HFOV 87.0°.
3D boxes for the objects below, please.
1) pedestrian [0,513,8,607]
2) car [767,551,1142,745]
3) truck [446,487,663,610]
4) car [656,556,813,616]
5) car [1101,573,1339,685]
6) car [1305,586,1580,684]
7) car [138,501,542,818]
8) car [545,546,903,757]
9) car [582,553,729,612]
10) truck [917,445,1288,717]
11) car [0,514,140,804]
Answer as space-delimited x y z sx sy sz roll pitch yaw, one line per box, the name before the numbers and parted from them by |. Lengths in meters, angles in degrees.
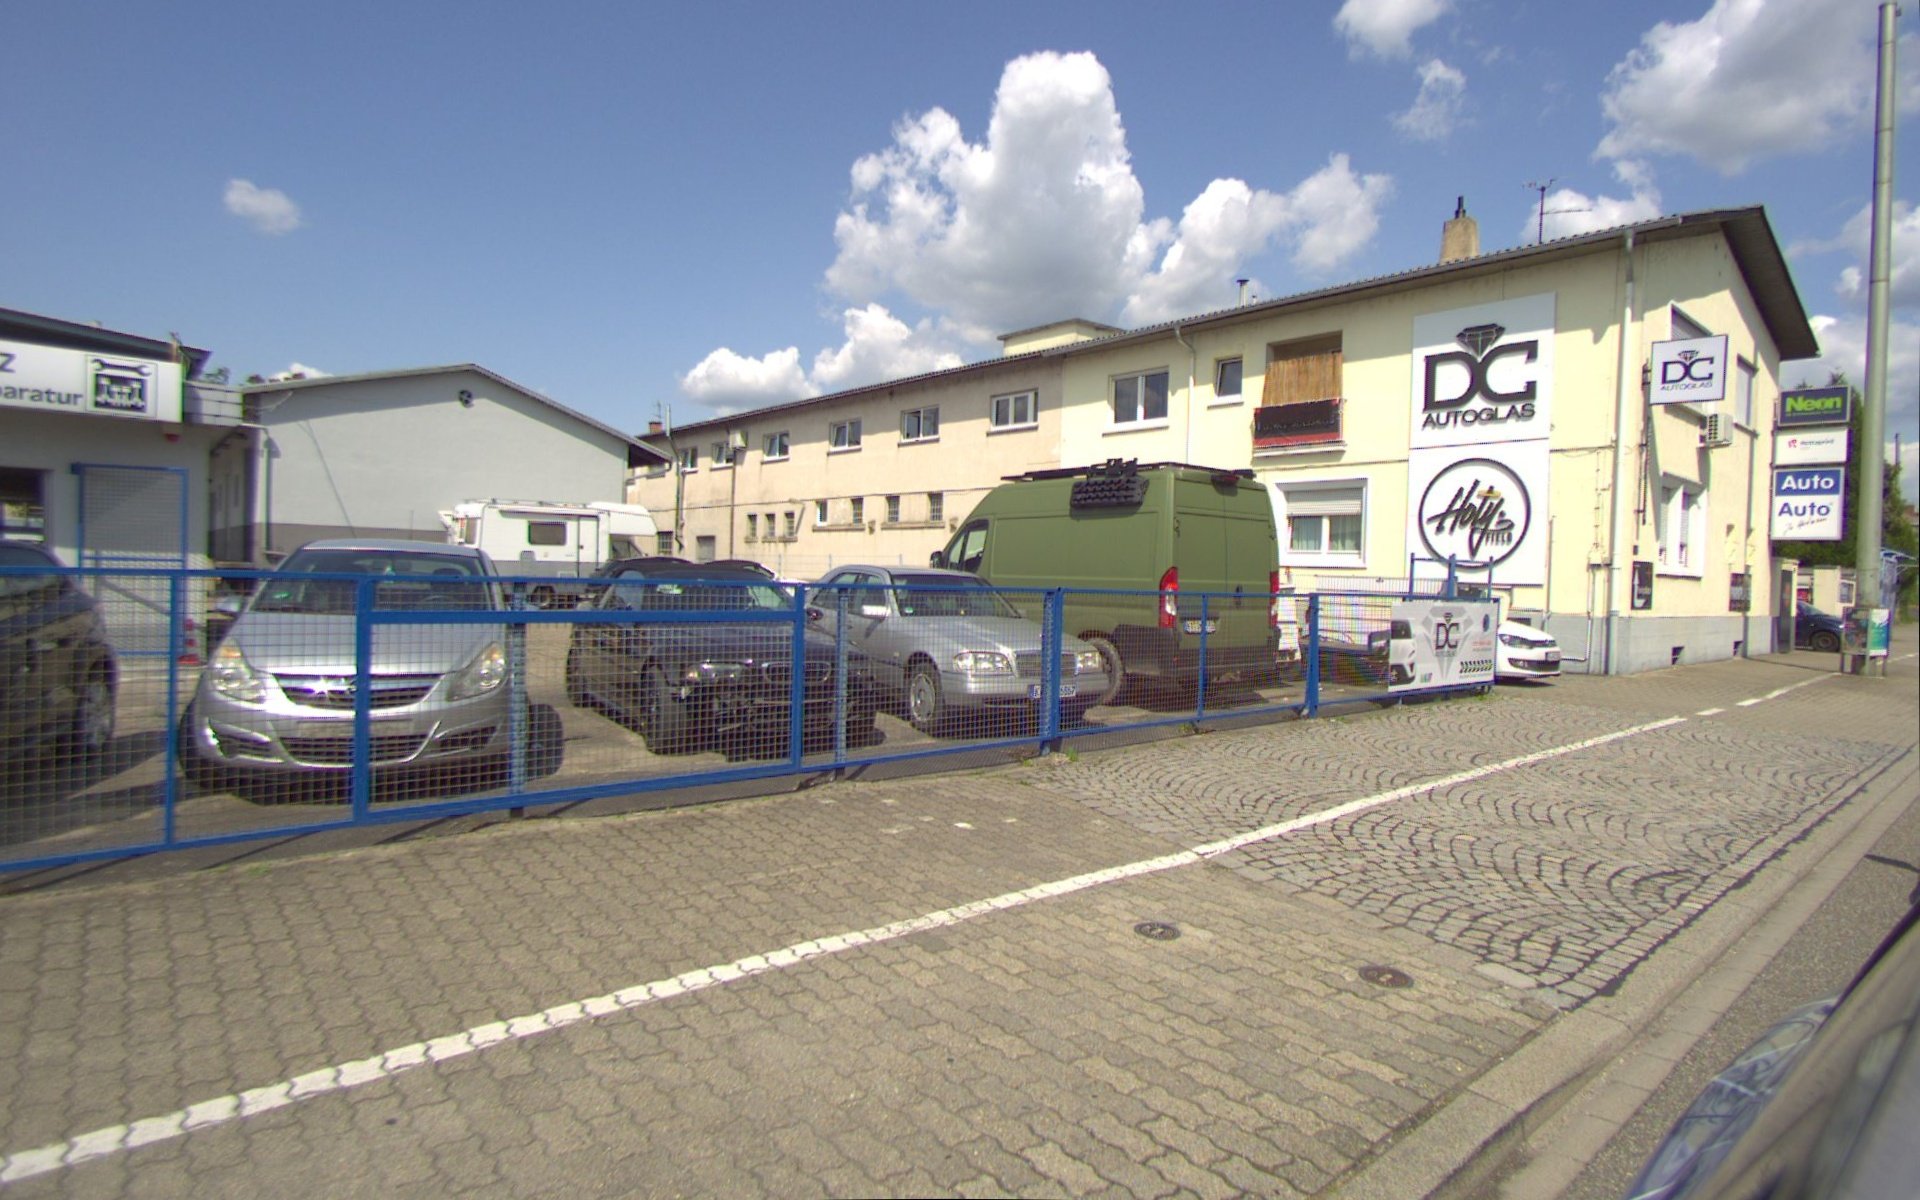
pedestrian | -13.952 -0.563 14.298 0.687 1.318 0.634 0 0 -40
car | -0.299 0.357 10.220 1.792 1.527 4.265 0 0 -33
truck | -10.893 -1.343 27.382 5.000 3.046 2.157 -1 3 -42
car | -5.113 -0.310 23.159 3.219 1.278 1.452 -1 0 -40
car | 3.573 0.324 14.249 1.309 1.290 3.034 0 4 -39
car | 7.579 0.475 16.190 1.490 1.375 3.727 0 0 -37
car | -4.002 0.264 7.185 1.789 1.524 4.271 0 0 -24
car | -2.313 0.296 8.938 1.707 1.391 4.265 0 1 -34
car | -7.643 -0.436 25.554 3.268 1.396 1.425 -1 0 -40
truck | 1.552 -0.208 12.297 2.071 2.694 4.180 0 0 -39
car | -5.691 0.299 4.977 1.592 1.480 3.919 0 3 -24
